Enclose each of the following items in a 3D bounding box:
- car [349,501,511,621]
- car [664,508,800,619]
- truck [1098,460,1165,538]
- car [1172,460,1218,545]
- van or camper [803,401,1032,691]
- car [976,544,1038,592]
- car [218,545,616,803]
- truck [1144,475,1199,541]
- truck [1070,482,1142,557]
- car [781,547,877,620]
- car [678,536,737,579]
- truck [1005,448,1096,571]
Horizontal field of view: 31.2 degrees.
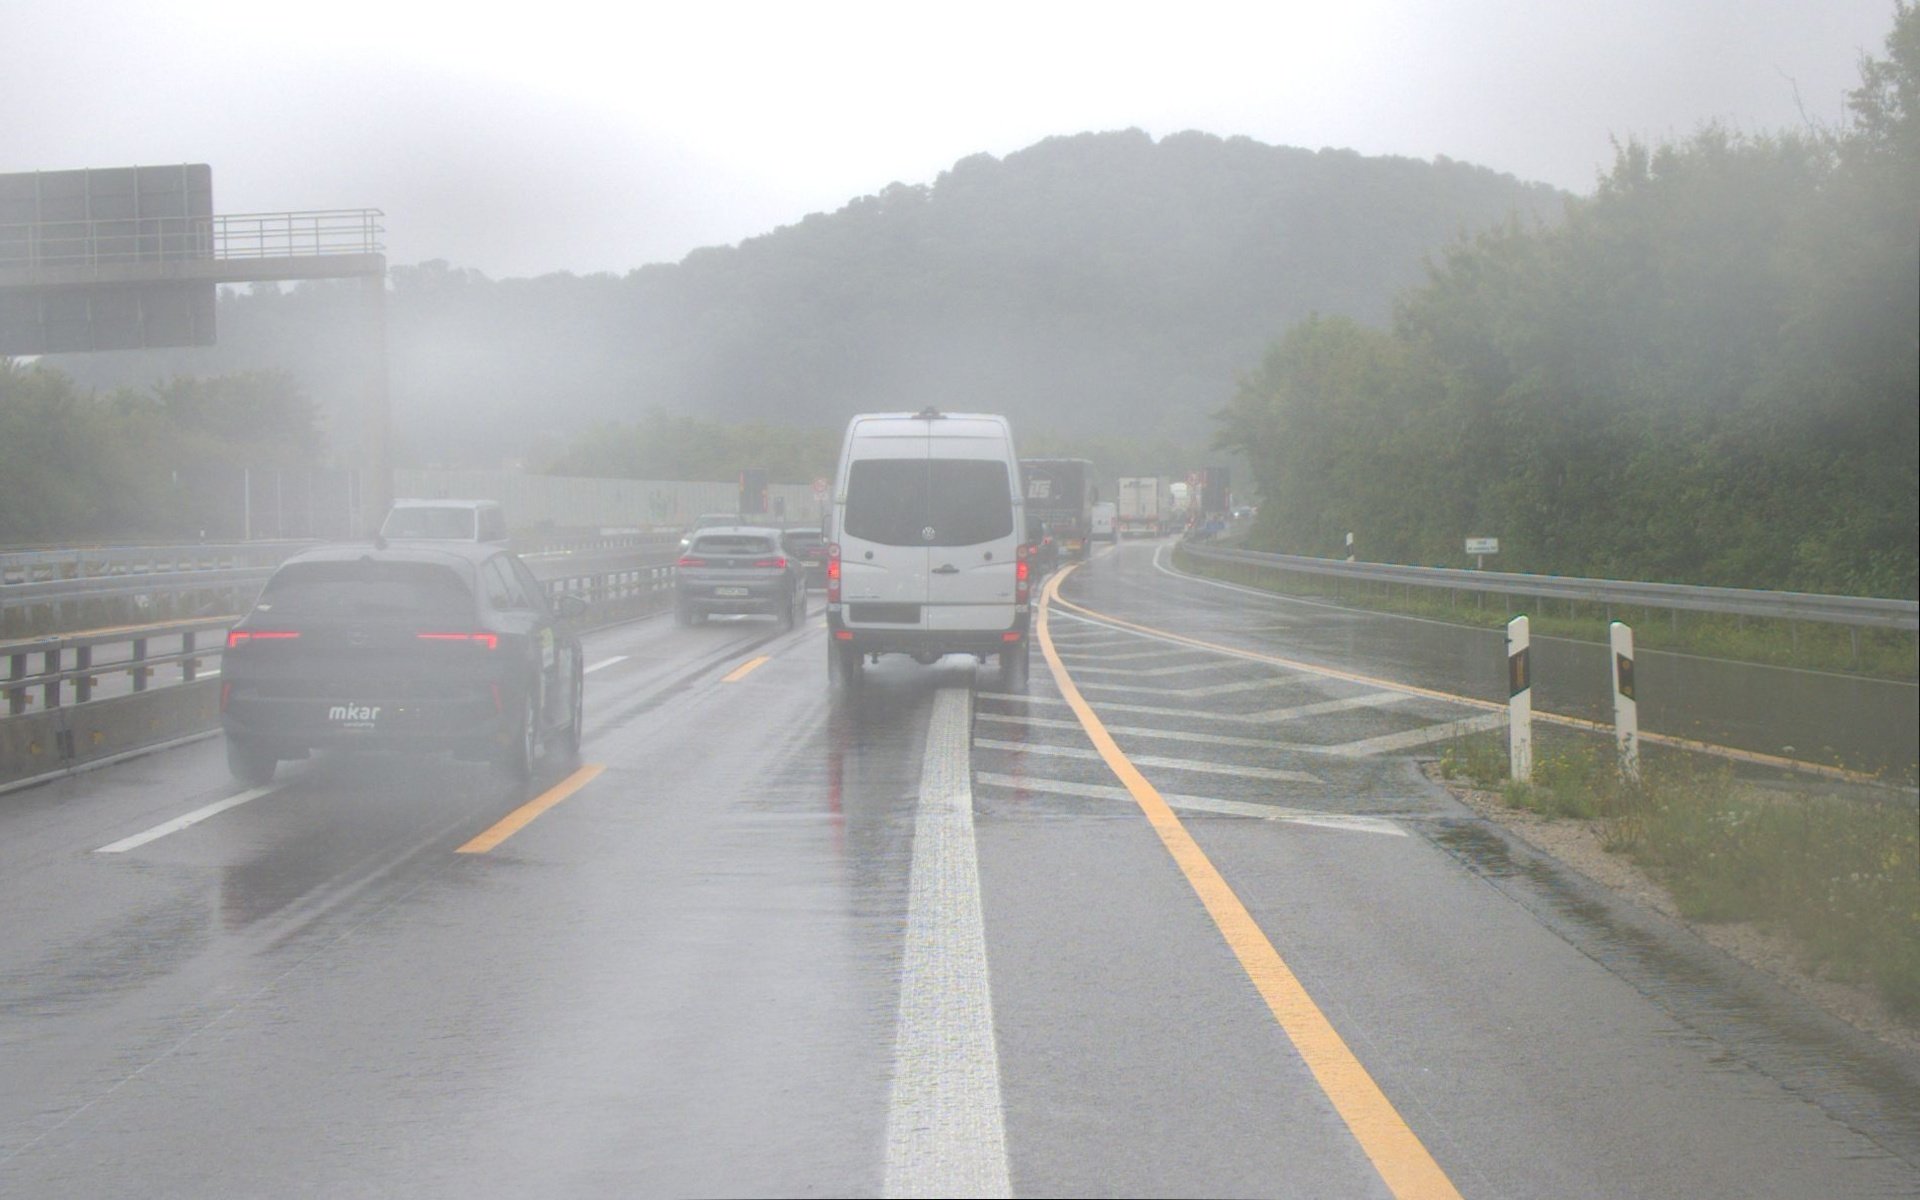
[{"bbox_3d":[-9.489,-0.702,61.995,1.908,2.007,5.828,1,1,1],"label":"car"},{"bbox_3d":[-3.487,-0.572,53.173,1.867,1.653,3.988,0,1,0],"label":"car"},{"bbox_3d":[11.145,-6.485,222.377,3.929,4.768,9.905,1,1,4],"label":"truck"},{"bbox_3d":[11.761,-4.862,172.670,2.058,4.177,6.746,0,1,2],"label":"car"},{"bbox_3d":[-0.387,-0.545,34.496,2.139,2.712,4.648,0,1,0],"label":"van or camper"},{"bbox_3d":[1.227,-0.871,91.249,1.384,1.252,3.123,0,1,-4],"label":"car"},{"bbox_3d":[-3.273,0.380,21.615,1.938,1.422,4.761,1,1,-3],"label":"car"},{"bbox_3d":[16.111,-6.922,260.805,3.929,4.768,9.905,1,1,4],"label":"truck"},{"bbox_3d":[7.710,-4.227,182.673,3.320,3.749,9.907,1,1,0],"label":"truck"},{"bbox_3d":[-2.770,-0.373,73.563,1.852,1.495,4.000,0,1,1],"label":"car"},{"bbox_3d":[-7.993,-1.352,109.139,1.631,1.346,3.655,0,1,0],"label":"car"},{"bbox_3d":[3.615,-3.602,139.711,3.320,4.768,9.907,1,1,0],"label":"truck"}]
